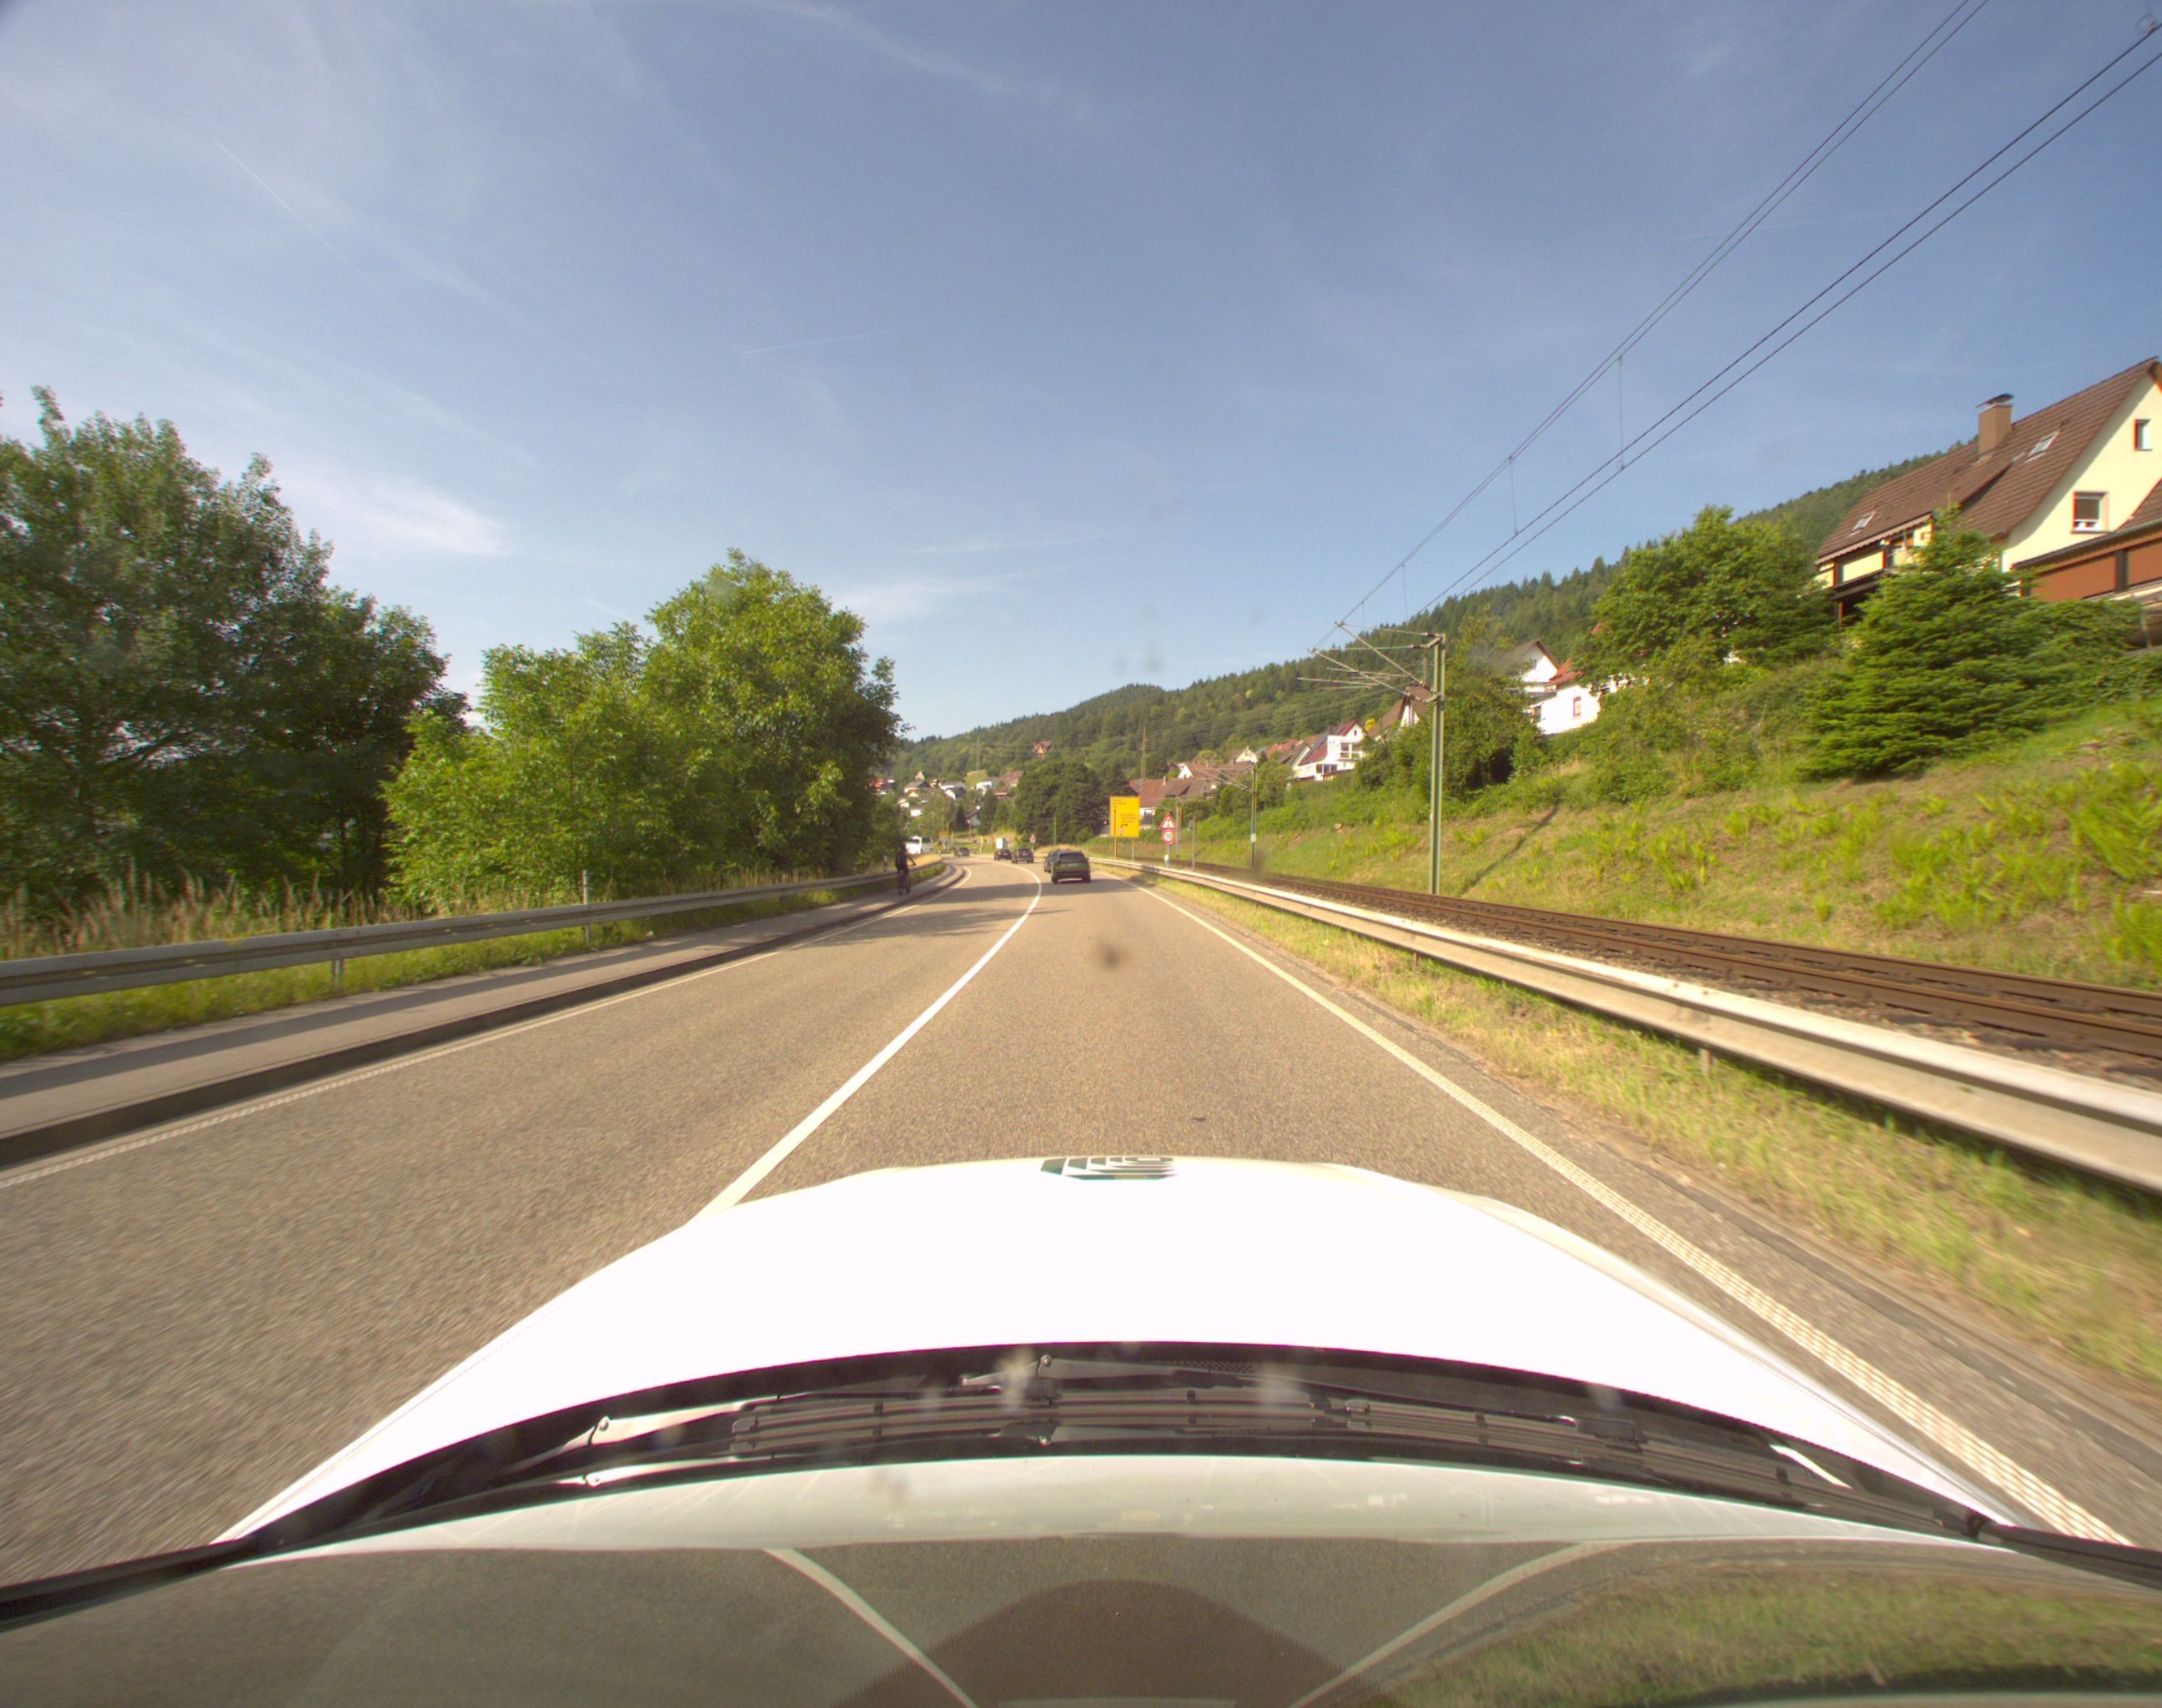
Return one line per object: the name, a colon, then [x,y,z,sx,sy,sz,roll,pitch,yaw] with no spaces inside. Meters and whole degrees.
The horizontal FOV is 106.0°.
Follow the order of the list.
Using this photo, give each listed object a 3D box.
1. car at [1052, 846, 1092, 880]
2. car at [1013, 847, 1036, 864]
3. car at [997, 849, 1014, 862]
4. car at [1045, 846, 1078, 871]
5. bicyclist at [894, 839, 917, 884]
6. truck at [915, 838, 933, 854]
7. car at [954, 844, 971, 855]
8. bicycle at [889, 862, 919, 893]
car: [-0.470,0.386,38.655,1.710,1.455,3.997,-2,0,-2]
car: [-5.782,0.116,82.846,1.880,1.686,3.987,0,0,-10]
car: [-9.552,0.177,102.763,1.848,1.527,3.652,-1,1,-8]
car: [-1.306,0.286,53.040,1.666,1.559,3.989,0,0,-8]
bicyclist: [-6.352,0.249,29.495,0.555,1.586,1.035,3,0,0]
truck: [-32.186,-1.649,166.998,2.722,3.083,6.066,0,1,-21]
car: [-20.013,-0.781,137.855,2.070,1.811,3.973,0,1,-20]
bicycle: [-6.409,0.831,29.554,0.555,1.045,2.229,3,1,0]
